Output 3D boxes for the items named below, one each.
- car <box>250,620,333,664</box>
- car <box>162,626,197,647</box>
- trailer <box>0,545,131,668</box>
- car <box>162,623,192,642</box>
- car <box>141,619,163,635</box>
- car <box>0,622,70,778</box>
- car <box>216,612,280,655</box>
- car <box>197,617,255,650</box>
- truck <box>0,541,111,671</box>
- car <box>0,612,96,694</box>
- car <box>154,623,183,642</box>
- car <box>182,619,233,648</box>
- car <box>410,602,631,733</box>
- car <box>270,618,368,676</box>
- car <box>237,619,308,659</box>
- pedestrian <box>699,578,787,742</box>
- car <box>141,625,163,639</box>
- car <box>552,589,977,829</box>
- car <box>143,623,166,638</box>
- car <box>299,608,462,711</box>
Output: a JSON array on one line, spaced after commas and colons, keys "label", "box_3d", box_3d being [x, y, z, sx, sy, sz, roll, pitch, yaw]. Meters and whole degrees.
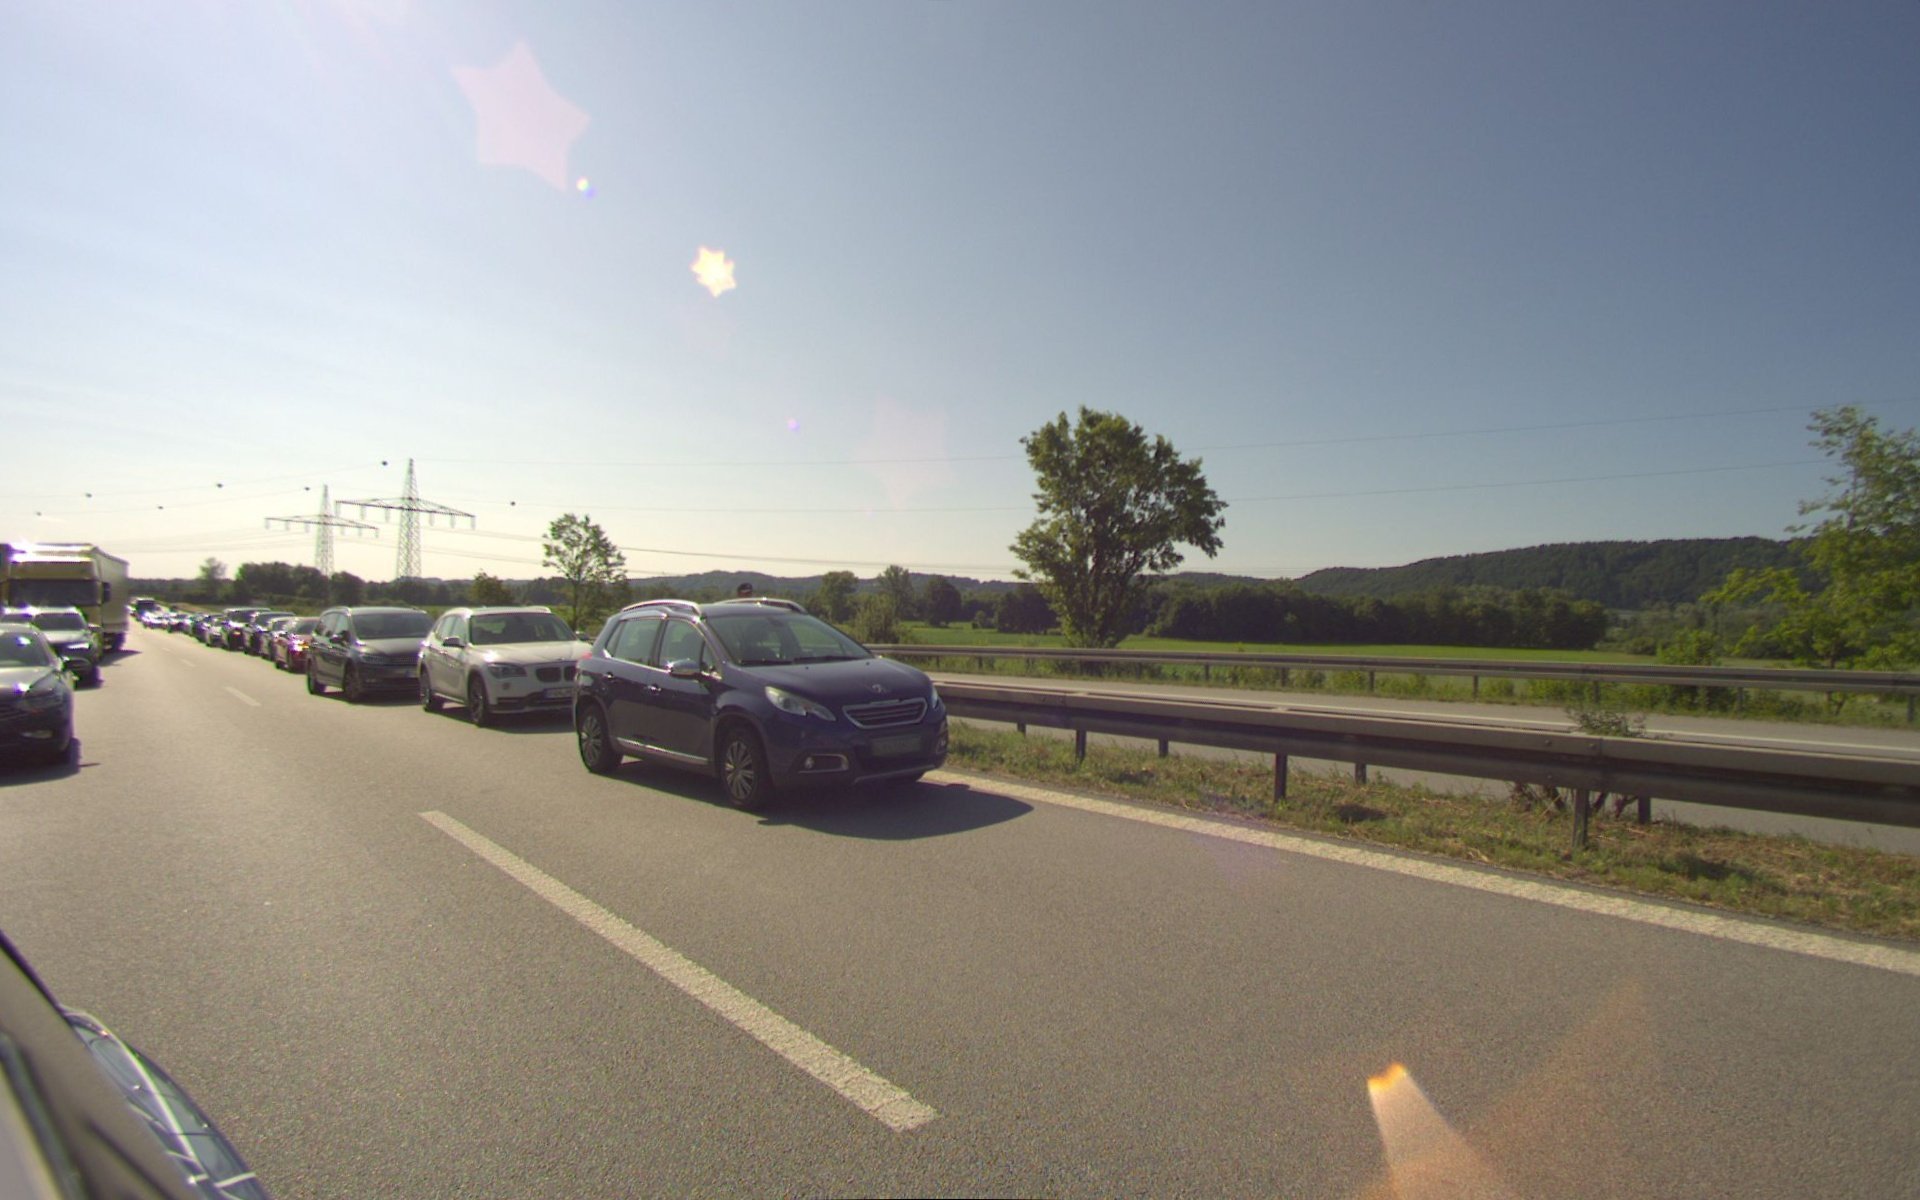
[{"label": "car", "box_3d": [-22.992, 1.408, 34.765, 1.867, 1.409, 4.006, 1, -2, -41]}, {"label": "car", "box_3d": [-55.623, 2.557, 72.095, 1.792, 1.470, 4.124, 1, -2, -40]}, {"label": "trailer", "box_3d": [-35.609, 0.260, 40.298, 3.335, 4.144, 13.983, -1, 0, -37]}, {"label": "car", "box_3d": [-62.299, 2.551, 80.488, 1.792, 1.470, 4.124, 1, -2, -39]}, {"label": "car", "box_3d": [-90.882, 3.022, 113.747, 1.786, 1.807, 3.779, 1, -2, -41]}, {"label": "car", "box_3d": [-10.550, 0.964, 10.636, 1.691, 1.424, 4.332, -1, -1, -40]}, {"label": "car", "box_3d": [-31.437, 1.437, 44.628, 1.874, 1.801, 4.206, 1, -2, -41]}, {"label": "car", "box_3d": [-36.252, 1.626, 49.957, 1.969, 1.542, 4.006, 1, -2, -41]}, {"label": "truck", "box_3d": [-31.955, 0.210, 35.384, 3.283, 4.144, 6.983, -1, 0, -39]}, {"label": "car", "box_3d": [-20.634, 1.132, 22.824, 1.691, 1.636, 4.332, -1, -1, -40]}, {"label": "car", "box_3d": [-67.892, 2.769, 86.804, 1.792, 1.470, 4.124, -1, 0, -40]}, {"label": "car", "box_3d": [-42.376, 1.874, 56.961, 1.969, 1.542, 4.006, 1, -2, -41]}, {"label": "car", "box_3d": [-6.392, 0.862, 14.455, 1.805, 1.586, 4.170, 0, -1, -40]}, {"label": "car", "box_3d": [-17.681, 1.246, 27.837, 1.792, 1.470, 4.125, 1, -2, -39]}, {"label": "car", "box_3d": [-26.863, 1.484, 39.482, 1.866, 1.466, 4.006, 1, -2, -40]}, {"label": "pedestrian", "box_3d": [-2.461, 0.658, 11.453, 0.662, 1.763, 0.816, 1, -2, -40]}, {"label": "car", "box_3d": [-84.992, 3.321, 106.461, 1.792, 1.470, 4.125, 1, -2, -39]}, {"label": "car", "box_3d": [-1.848, 0.739, 8.627, 1.668, 1.546, 3.952, -1, 0, -44]}, {"label": "car", "box_3d": [-81.337, 3.039, 102.153, 1.792, 1.470, 4.125, -1, 0, -39]}, {"label": "car", "box_3d": [-10.588, 0.992, 18.362, 1.793, 1.628, 4.123, -1, 0, -41]}]
